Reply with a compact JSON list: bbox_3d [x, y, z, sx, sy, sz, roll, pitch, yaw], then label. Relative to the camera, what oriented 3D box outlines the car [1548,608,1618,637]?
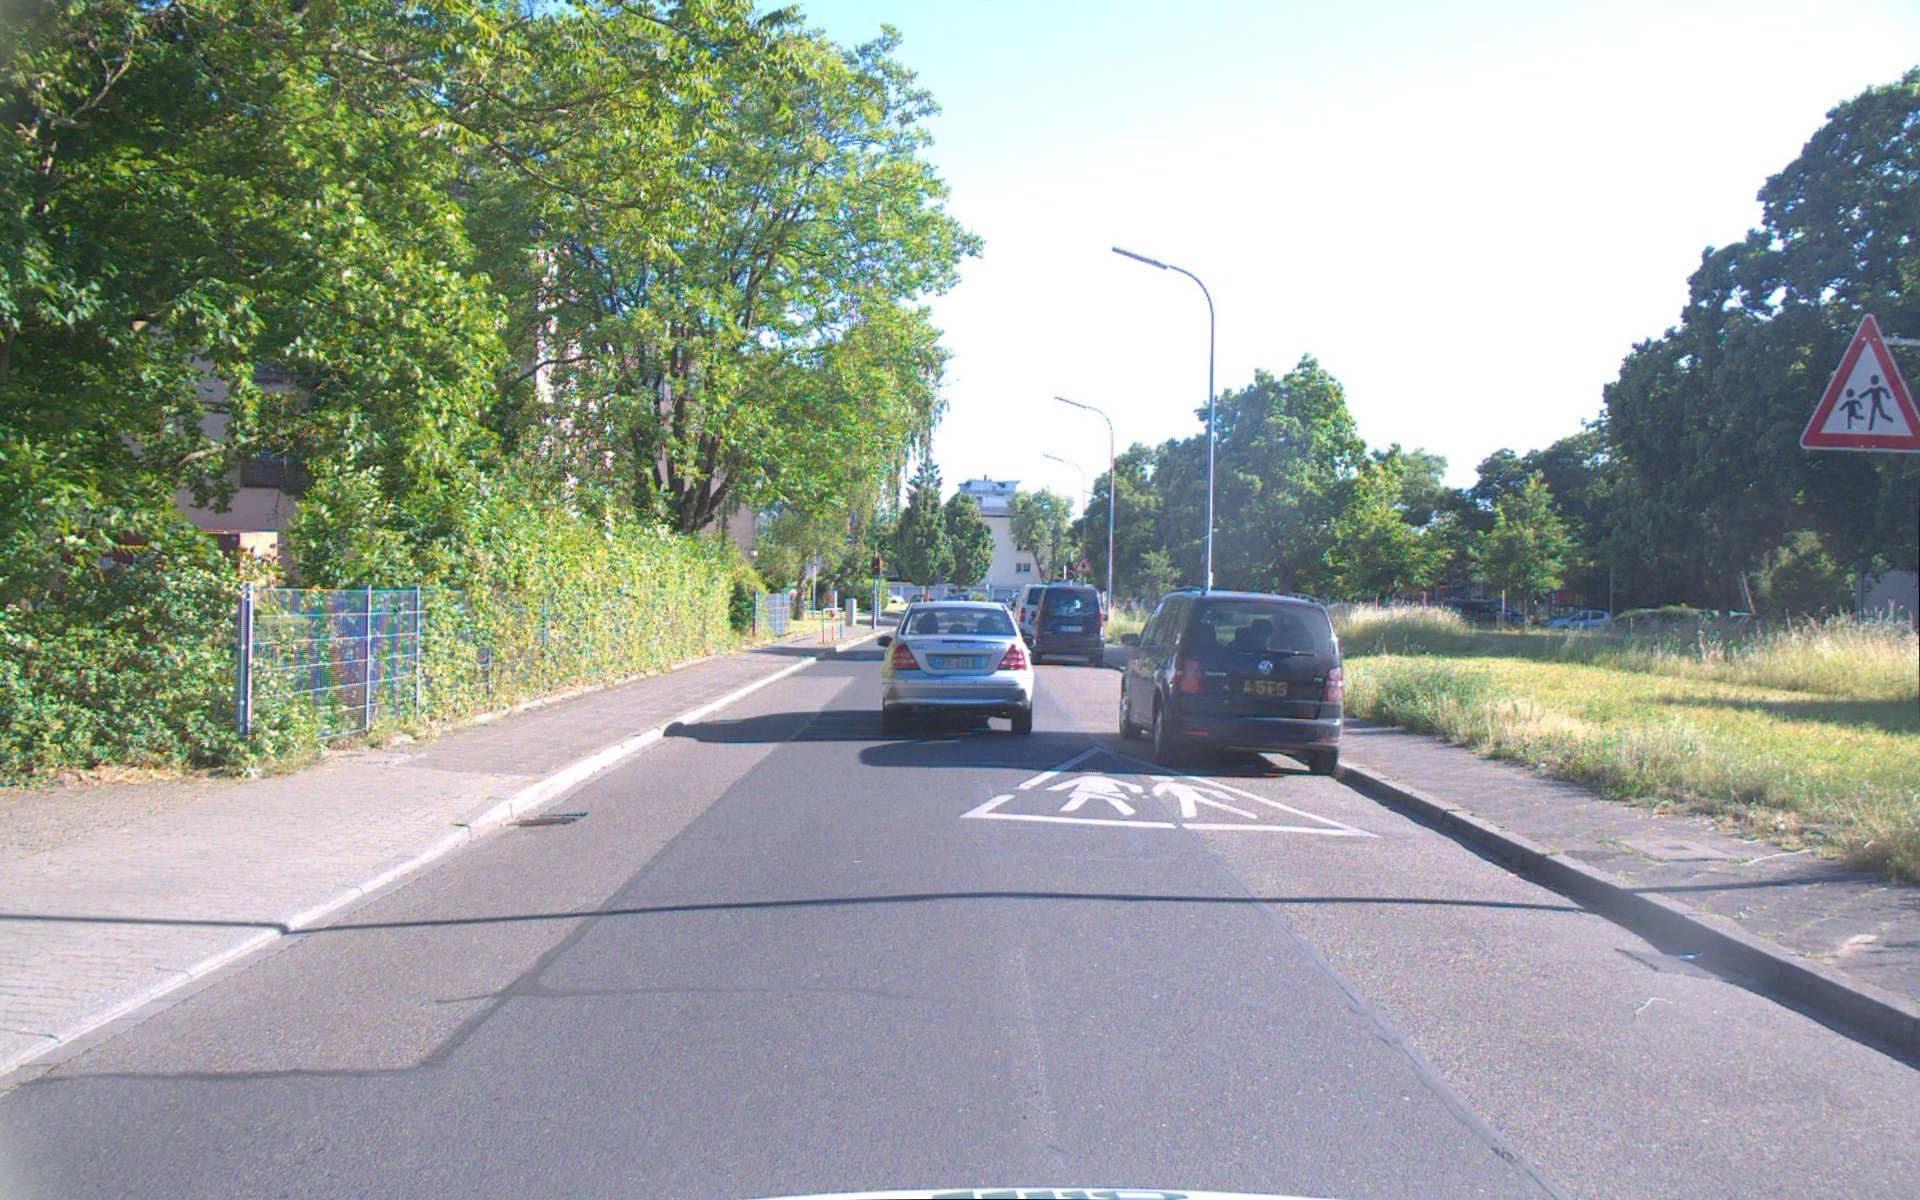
[{"bbox_3d":[36.773,1.332,97.675,3.624,1.646,1.701,1,-2,8],"label":"car"}]

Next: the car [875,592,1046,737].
[{"bbox_3d":[0.014,0.667,19.429,1.779,1.489,4.361,0,0,0],"label":"car"}]

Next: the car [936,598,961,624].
[{"bbox_3d":[-0.862,0.826,123.861,1.846,1.758,3.998,1,-2,-1],"label":"car"}]

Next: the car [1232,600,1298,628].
[{"bbox_3d":[17.500,0.828,94.881,3.624,1.497,1.700,1,-2,15],"label":"car"}]

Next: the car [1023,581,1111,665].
[{"bbox_3d":[2.470,0.505,38.860,1.664,1.790,3.850,3,0,-1],"label":"car"}]

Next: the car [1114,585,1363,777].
[{"bbox_3d":[2.666,0.705,16.716,1.664,1.638,3.999,2,0,-2],"label":"car"}]

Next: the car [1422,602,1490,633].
[{"bbox_3d":[27.827,0.975,92.865,3.624,1.646,1.700,1,-2,15],"label":"car"}]

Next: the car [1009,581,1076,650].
[{"bbox_3d":[2.410,0.428,49.085,1.664,1.884,3.850,3,0,-1],"label":"car"}]
